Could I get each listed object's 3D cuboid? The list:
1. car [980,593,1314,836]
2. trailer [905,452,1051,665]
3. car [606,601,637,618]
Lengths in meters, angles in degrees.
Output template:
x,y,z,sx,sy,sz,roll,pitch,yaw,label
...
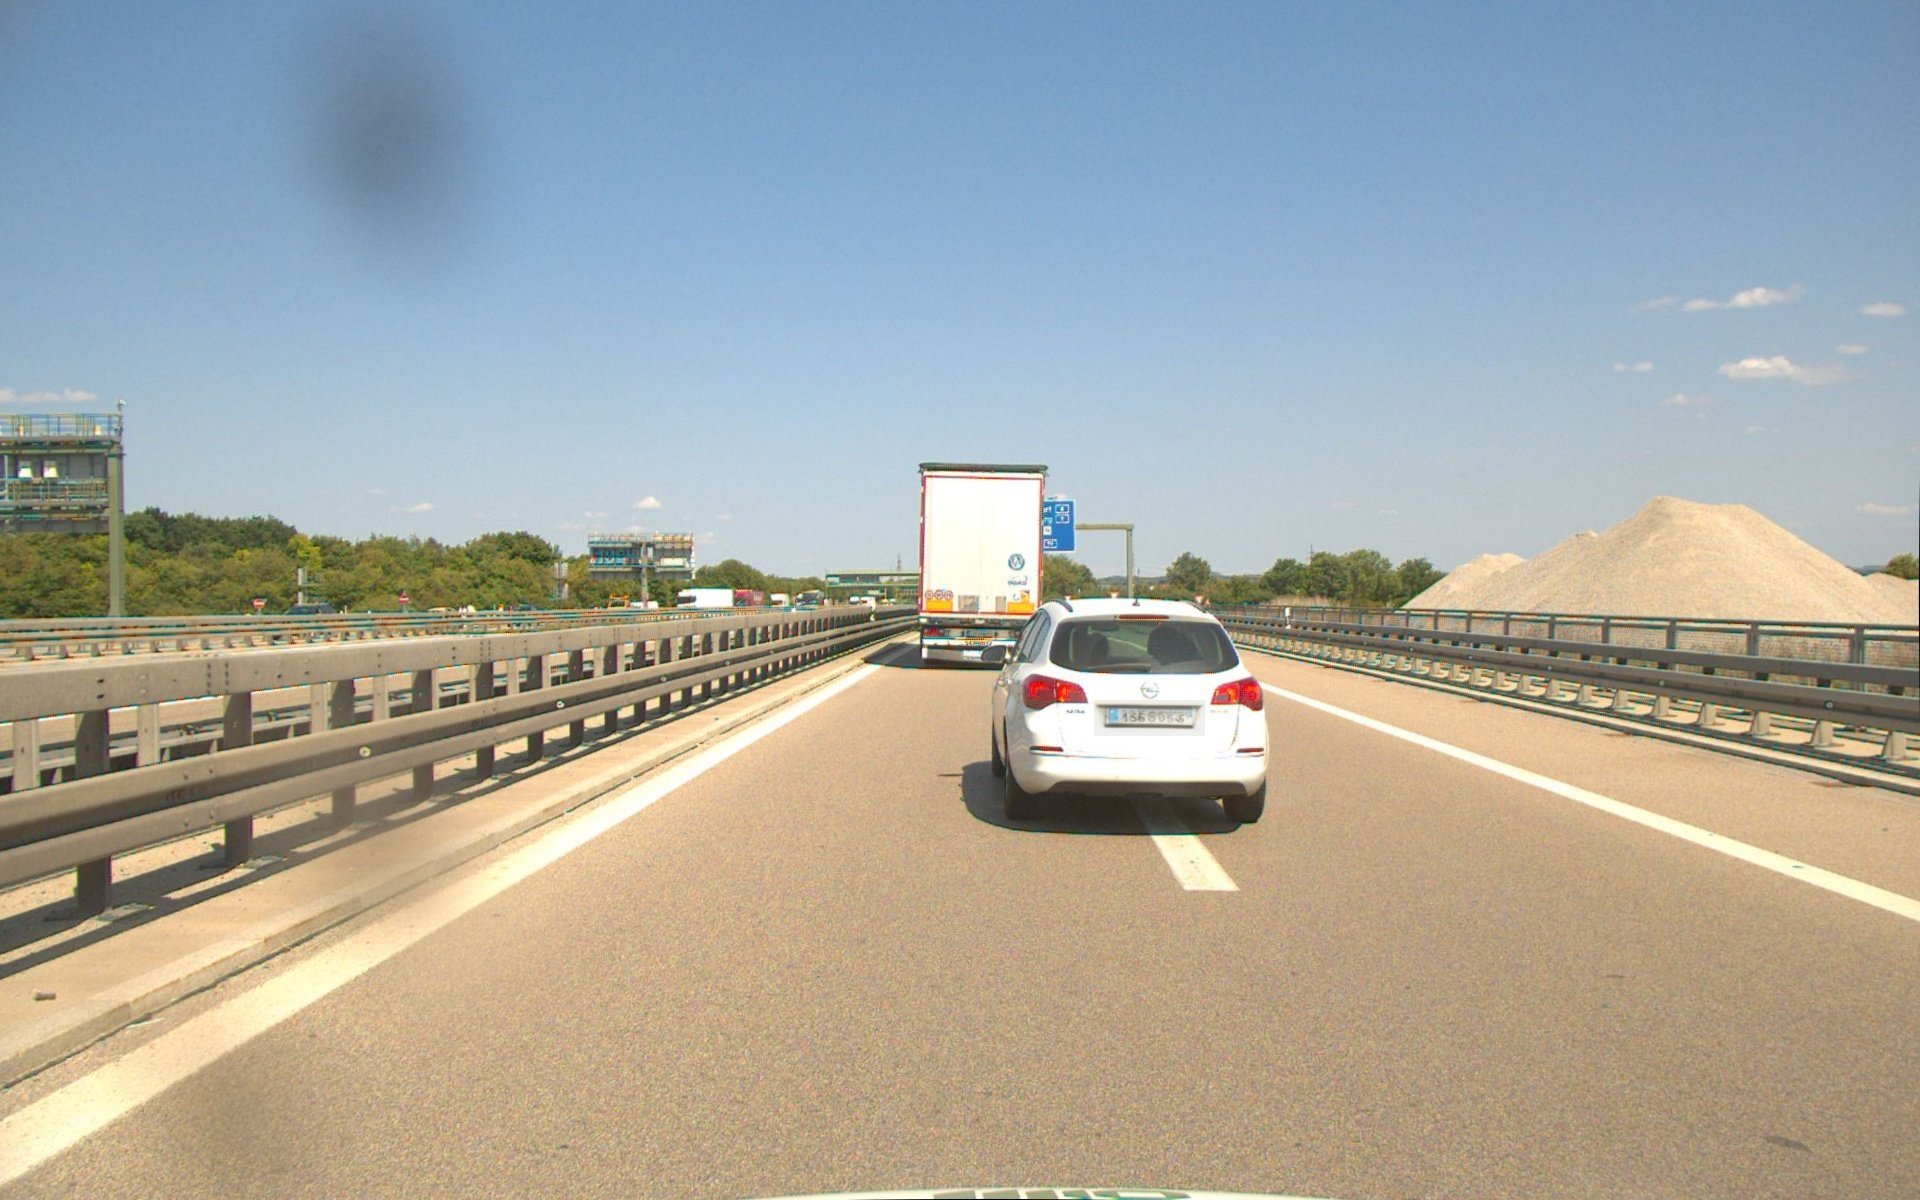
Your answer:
x,y,z,sx,sy,sz,roll,pitch,yaw,label
1.173,0.693,12.297,1.817,1.468,4.370,1,0,-2,car
0.502,-0.782,38.670,2.852,4.218,11.259,1,-1,1,trailer
-32.099,0.917,156.971,1.800,1.544,5.298,0,0,1,car
